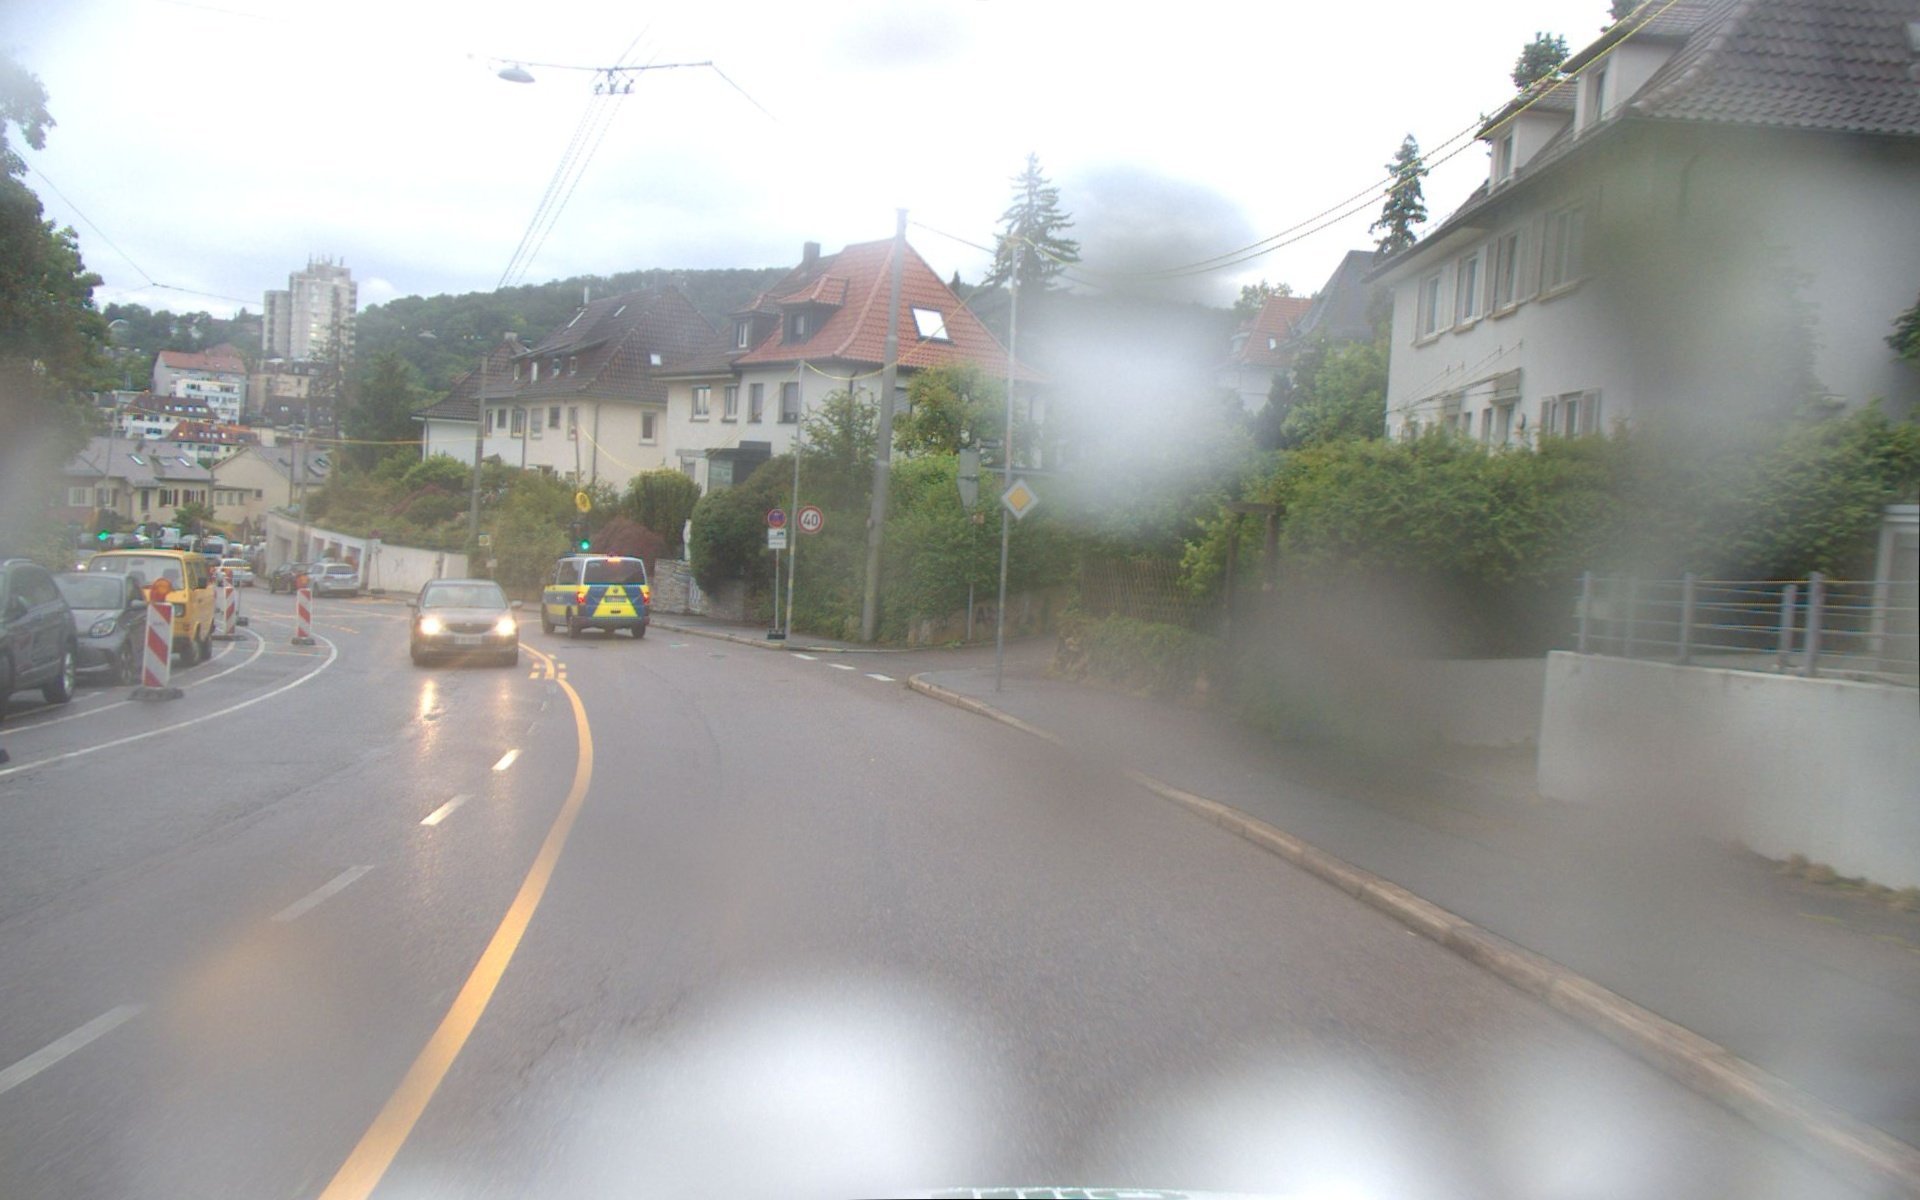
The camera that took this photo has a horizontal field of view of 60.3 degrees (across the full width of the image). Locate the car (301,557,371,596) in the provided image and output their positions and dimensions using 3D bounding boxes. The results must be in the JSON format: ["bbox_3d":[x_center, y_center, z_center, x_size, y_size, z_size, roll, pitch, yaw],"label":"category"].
[{"bbox_3d":[-27.575,-1.032,73.045,1.976,1.601,3.953,2,0,-34],"label":"car"}]

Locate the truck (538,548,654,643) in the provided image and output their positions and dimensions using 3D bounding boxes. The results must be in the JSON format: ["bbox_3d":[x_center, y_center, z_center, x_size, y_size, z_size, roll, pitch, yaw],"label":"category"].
[{"bbox_3d":[-9.187,-0.166,41.466,1.967,2.048,4.703,1,3,-23],"label":"truck"}]

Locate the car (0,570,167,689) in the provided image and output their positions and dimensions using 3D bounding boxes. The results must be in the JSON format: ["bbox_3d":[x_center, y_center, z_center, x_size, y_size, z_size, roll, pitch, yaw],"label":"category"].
[{"bbox_3d":[-12.357,0.371,23.239,1.820,1.489,3.744,2,0,-21],"label":"car"}]

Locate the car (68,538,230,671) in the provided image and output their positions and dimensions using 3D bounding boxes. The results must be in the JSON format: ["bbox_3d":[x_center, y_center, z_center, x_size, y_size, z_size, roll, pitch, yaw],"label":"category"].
[{"bbox_3d":[-13.942,0.055,28.713,1.965,2.049,5.110,2,0,-21],"label":"car"}]

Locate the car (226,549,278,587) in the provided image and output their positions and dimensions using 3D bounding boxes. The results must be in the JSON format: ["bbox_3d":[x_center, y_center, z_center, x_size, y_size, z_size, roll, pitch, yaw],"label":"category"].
[{"bbox_3d":[-37.995,-1.733,88.761,1.975,1.712,3.959,-1,6,-32],"label":"car"}]

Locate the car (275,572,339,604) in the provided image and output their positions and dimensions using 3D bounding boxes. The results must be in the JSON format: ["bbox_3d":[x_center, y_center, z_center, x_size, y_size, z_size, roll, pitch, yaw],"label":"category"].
[{"bbox_3d":[-30.588,-0.568,77.439,1.976,1.400,3.953,2,0,-34],"label":"car"}]

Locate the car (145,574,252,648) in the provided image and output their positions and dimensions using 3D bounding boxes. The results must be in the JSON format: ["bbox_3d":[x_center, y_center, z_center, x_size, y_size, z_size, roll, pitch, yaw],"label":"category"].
[{"bbox_3d":[-16.686,0.217,36.395,1.820,1.489,3.744,2,0,-21],"label":"car"}]

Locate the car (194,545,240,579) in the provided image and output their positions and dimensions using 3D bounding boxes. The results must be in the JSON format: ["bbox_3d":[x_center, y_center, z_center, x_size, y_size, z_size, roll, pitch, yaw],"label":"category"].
[{"bbox_3d":[-44.323,-2.281,98.590,1.975,1.712,3.959,-1,6,-32],"label":"car"}]

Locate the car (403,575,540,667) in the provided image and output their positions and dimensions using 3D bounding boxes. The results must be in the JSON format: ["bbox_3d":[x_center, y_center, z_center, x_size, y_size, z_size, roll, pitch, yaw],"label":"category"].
[{"bbox_3d":[-8.782,0.342,30.028,1.958,1.489,3.989,2,0,-11],"label":"car"}]
